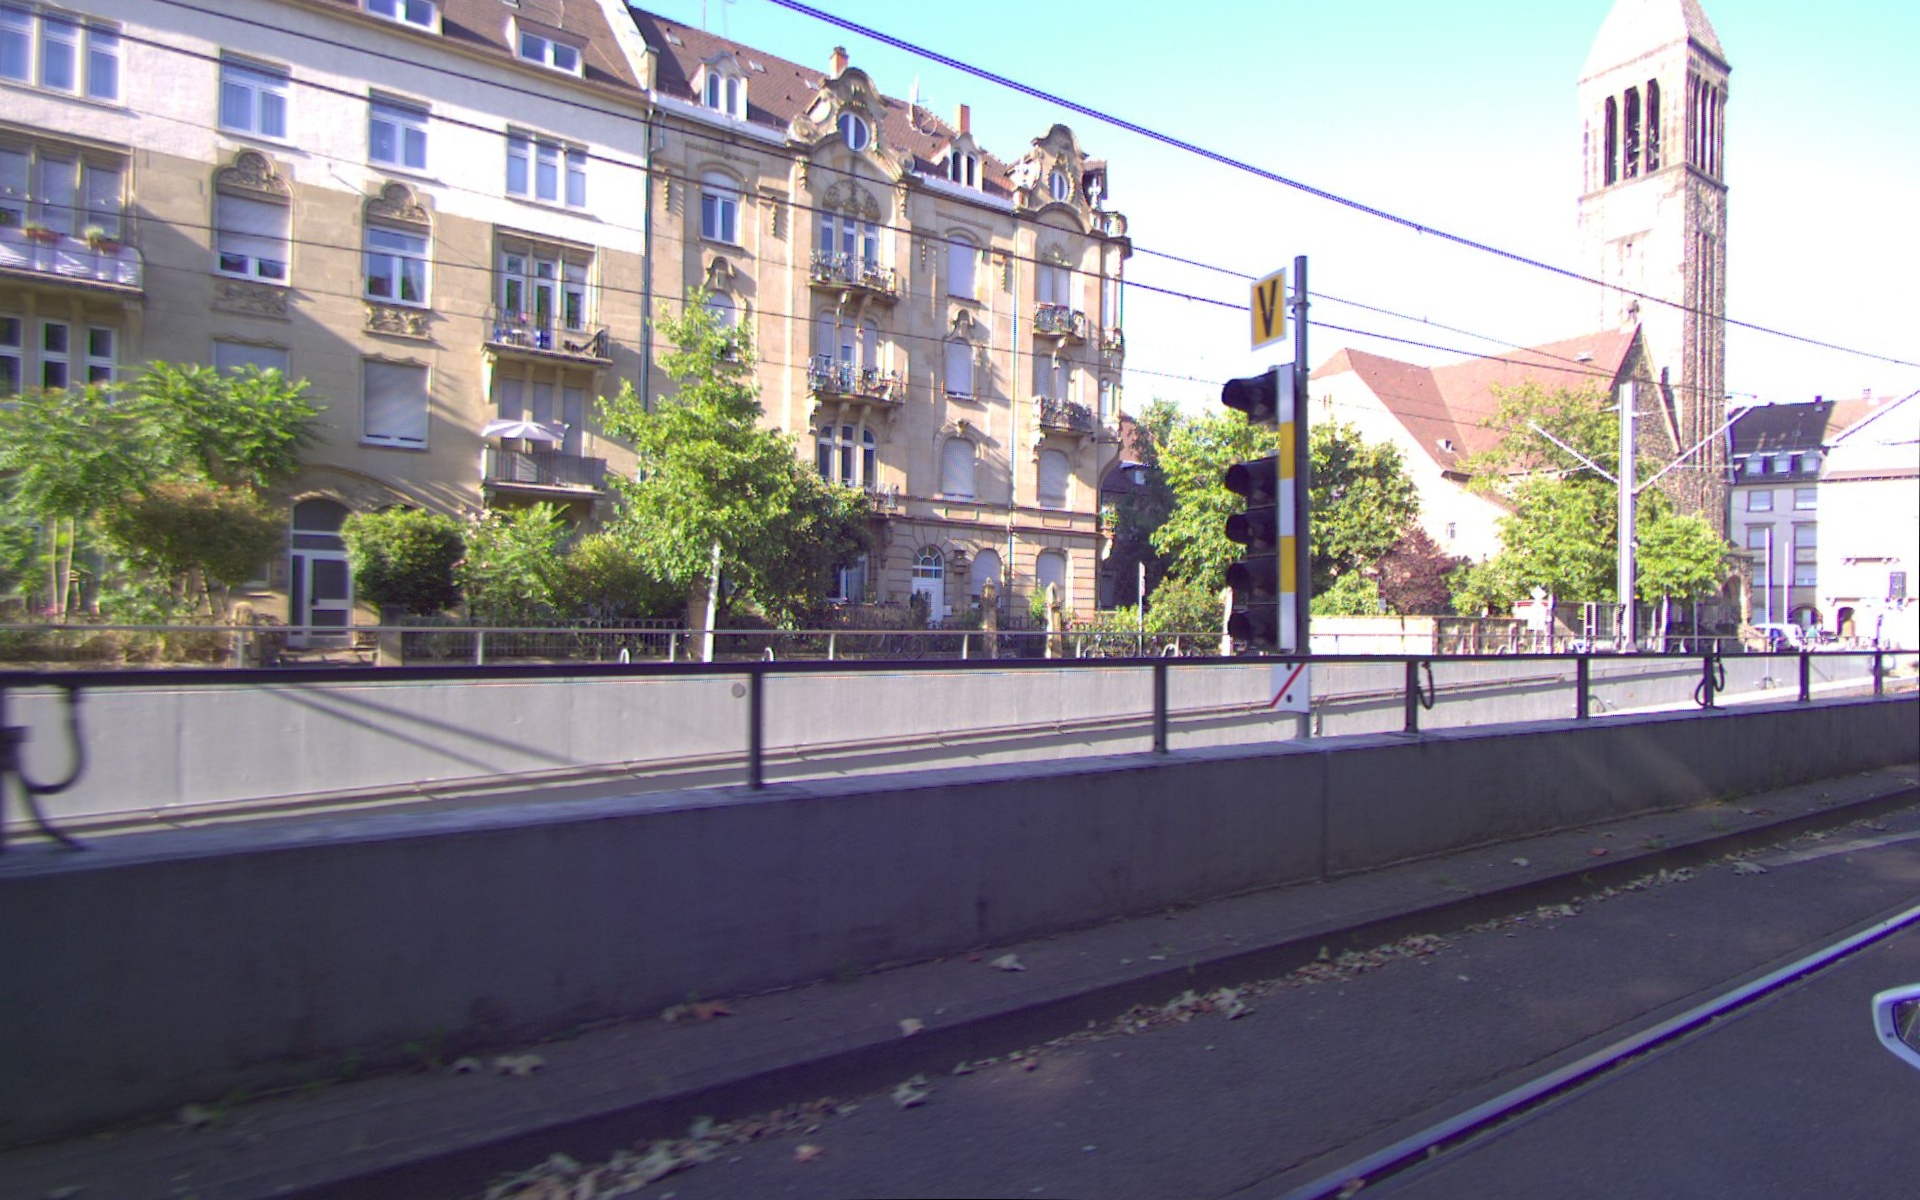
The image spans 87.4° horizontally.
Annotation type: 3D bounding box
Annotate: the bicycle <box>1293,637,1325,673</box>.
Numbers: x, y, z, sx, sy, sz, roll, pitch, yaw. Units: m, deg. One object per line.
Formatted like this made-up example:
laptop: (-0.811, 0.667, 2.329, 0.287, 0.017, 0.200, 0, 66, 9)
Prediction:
bicycle: (11.145, 1.732, 32.017, 0.478, 1.036, 1.888, 2, 1, 33)

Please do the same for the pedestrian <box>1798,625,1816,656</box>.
pedestrian: (52.786, 2.511, 62.591, 0.748, 1.913, 0.602, 1, 1, -30)

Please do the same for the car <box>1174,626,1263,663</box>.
car: (12.273, 2.091, 47.962, 1.800, 1.673, 3.963, 1, -2, -33)

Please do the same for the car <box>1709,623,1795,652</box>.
car: (51.830, 2.437, 65.819, 1.872, 1.651, 3.968, 1, 1, -30)

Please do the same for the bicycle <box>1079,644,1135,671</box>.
bicycle: (4.627, 1.808, 31.633, 1.865, 0.811, 0.414, 1, 1, -30)

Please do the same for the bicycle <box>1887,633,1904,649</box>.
bicycle: (81.601, 3.593, 87.604, 2.545, 1.300, 0.814, 1, 1, -41)

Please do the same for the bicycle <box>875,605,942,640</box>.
bicycle: (-1.626, 0.716, 31.684, 2.086, 1.032, 0.503, 1, 1, -29)

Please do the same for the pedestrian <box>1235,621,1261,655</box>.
pedestrian: (14.423, 1.902, 50.292, 0.919, 1.609, 0.745, 1, 1, -16)

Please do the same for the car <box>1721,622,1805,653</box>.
car: (54.045, 2.504, 67.671, 1.872, 1.780, 3.968, 1, 1, -30)

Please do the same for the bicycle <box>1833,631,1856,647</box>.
bicycle: (78.575, 3.471, 89.256, 0.809, 1.300, 2.561, 2, 1, 26)

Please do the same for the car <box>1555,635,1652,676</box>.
car: (27.595, 2.353, 43.038, 4.458, 1.576, 1.707, 1, 1, -31)

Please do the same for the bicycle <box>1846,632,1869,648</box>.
bicycle: (79.369, 3.502, 88.839, 0.809, 1.300, 2.561, 2, 1, 26)
